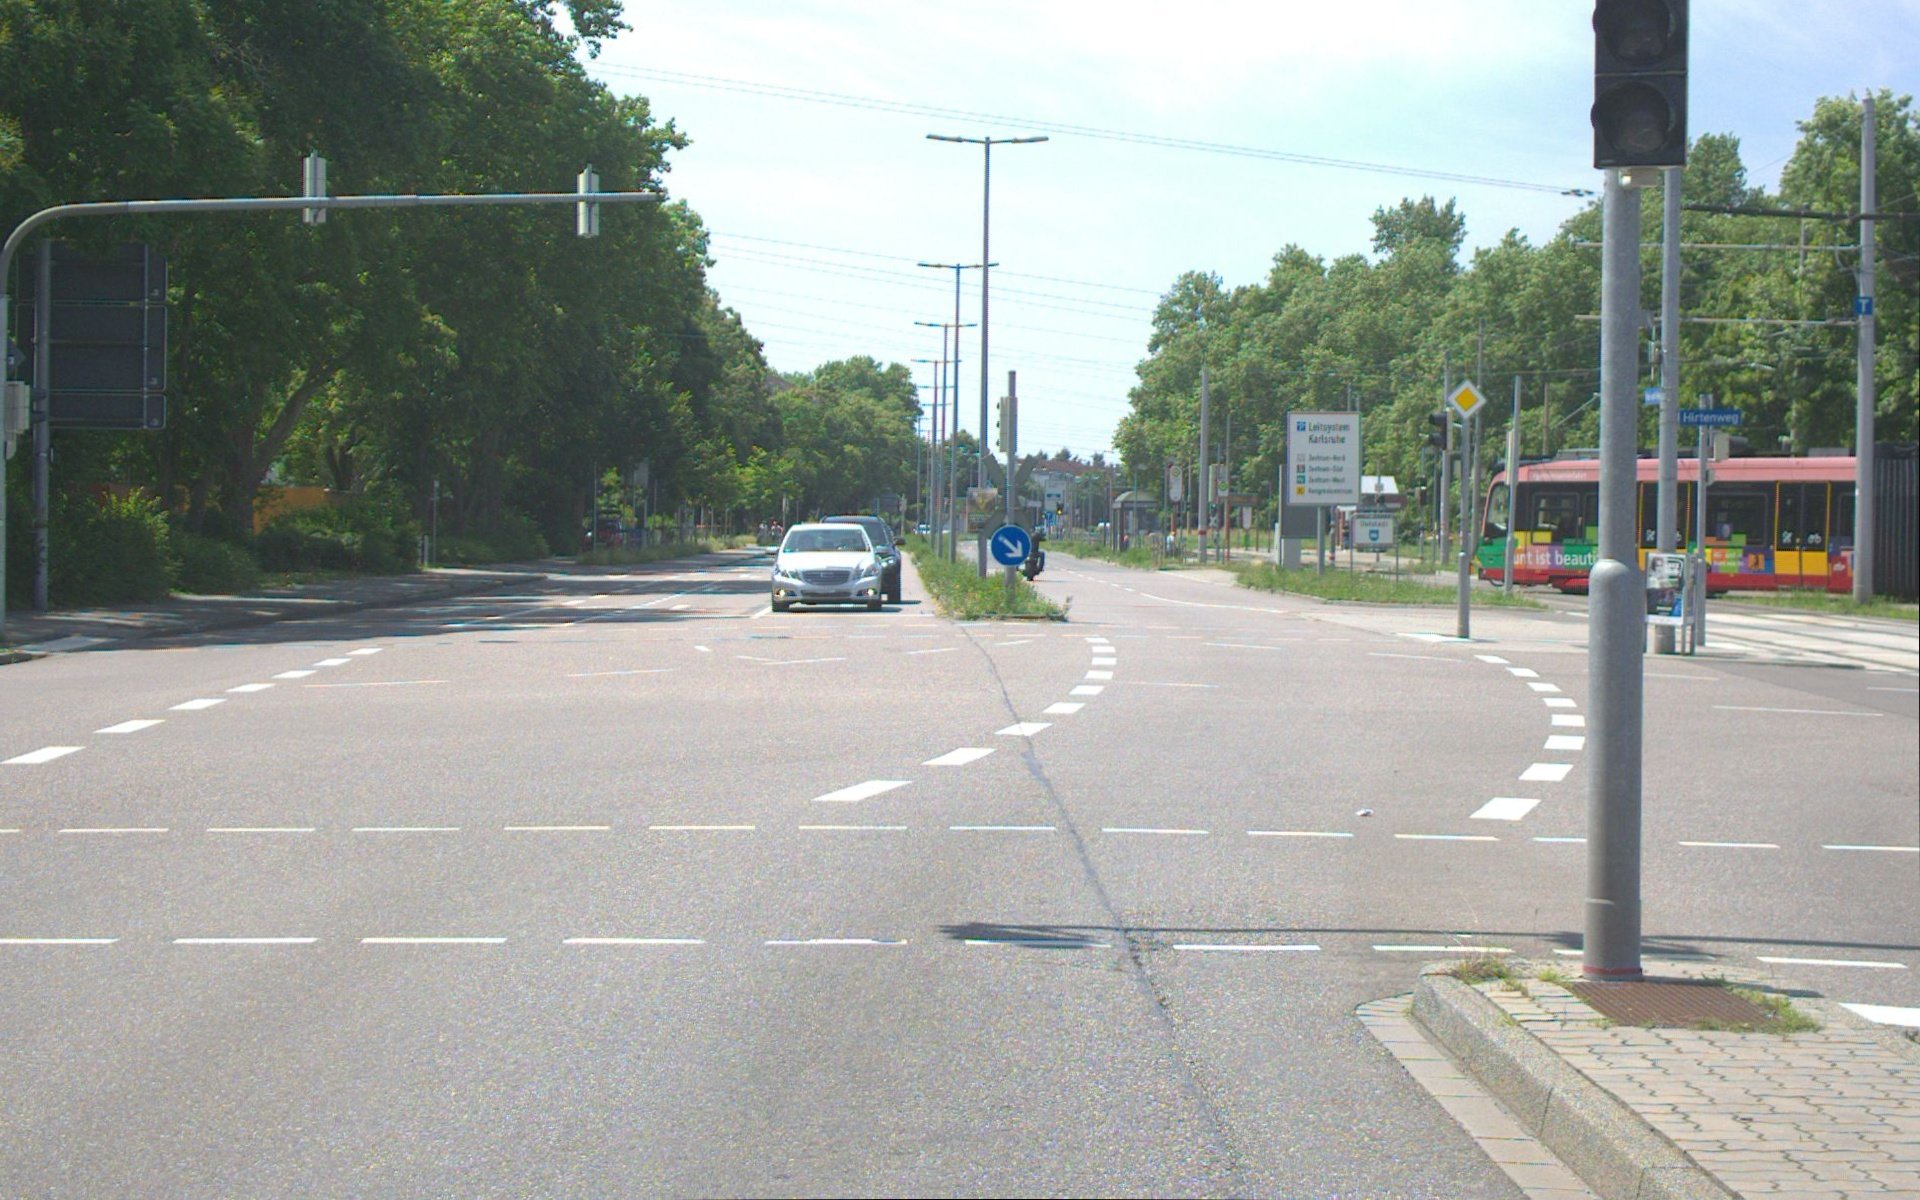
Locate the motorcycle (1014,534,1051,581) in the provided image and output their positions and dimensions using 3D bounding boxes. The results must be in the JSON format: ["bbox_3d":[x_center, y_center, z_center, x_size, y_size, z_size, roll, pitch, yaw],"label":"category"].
[{"bbox_3d":[1.992,-1.179,95.007,0.847,1.251,2.449,2,1,-2],"label":"motorcycle"}]

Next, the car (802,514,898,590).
[{"bbox_3d":[-2.066,-0.935,65.278,1.710,1.361,3.865,1,1,0],"label":"car"}]

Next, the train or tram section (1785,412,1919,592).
[{"bbox_3d":[24.856,-2.050,73.947,13.432,3.799,2.919,1,-2,27],"label":"train or tram section"}]

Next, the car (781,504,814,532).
[{"bbox_3d":[-9.010,-4.573,191.107,1.671,1.485,3.711,1,1,0],"label":"car"}]

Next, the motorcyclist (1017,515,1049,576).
[{"bbox_3d":[2.012,-1.508,95.146,0.790,1.637,1.211,2,1,-1],"label":"motorcyclist"}]

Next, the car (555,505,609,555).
[{"bbox_3d":[-16.300,-3.022,148.473,1.993,2.007,4.001,4,1,-4],"label":"car"}]

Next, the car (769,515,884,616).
[{"bbox_3d":[-2.218,-0.612,58.050,1.784,1.623,3.865,1,1,0],"label":"car"}]

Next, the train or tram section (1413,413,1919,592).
[{"bbox_3d":[16.530,-2.170,82.034,2.914,3.799,13.071,3,-2,-37],"label":"train or tram section"}]
